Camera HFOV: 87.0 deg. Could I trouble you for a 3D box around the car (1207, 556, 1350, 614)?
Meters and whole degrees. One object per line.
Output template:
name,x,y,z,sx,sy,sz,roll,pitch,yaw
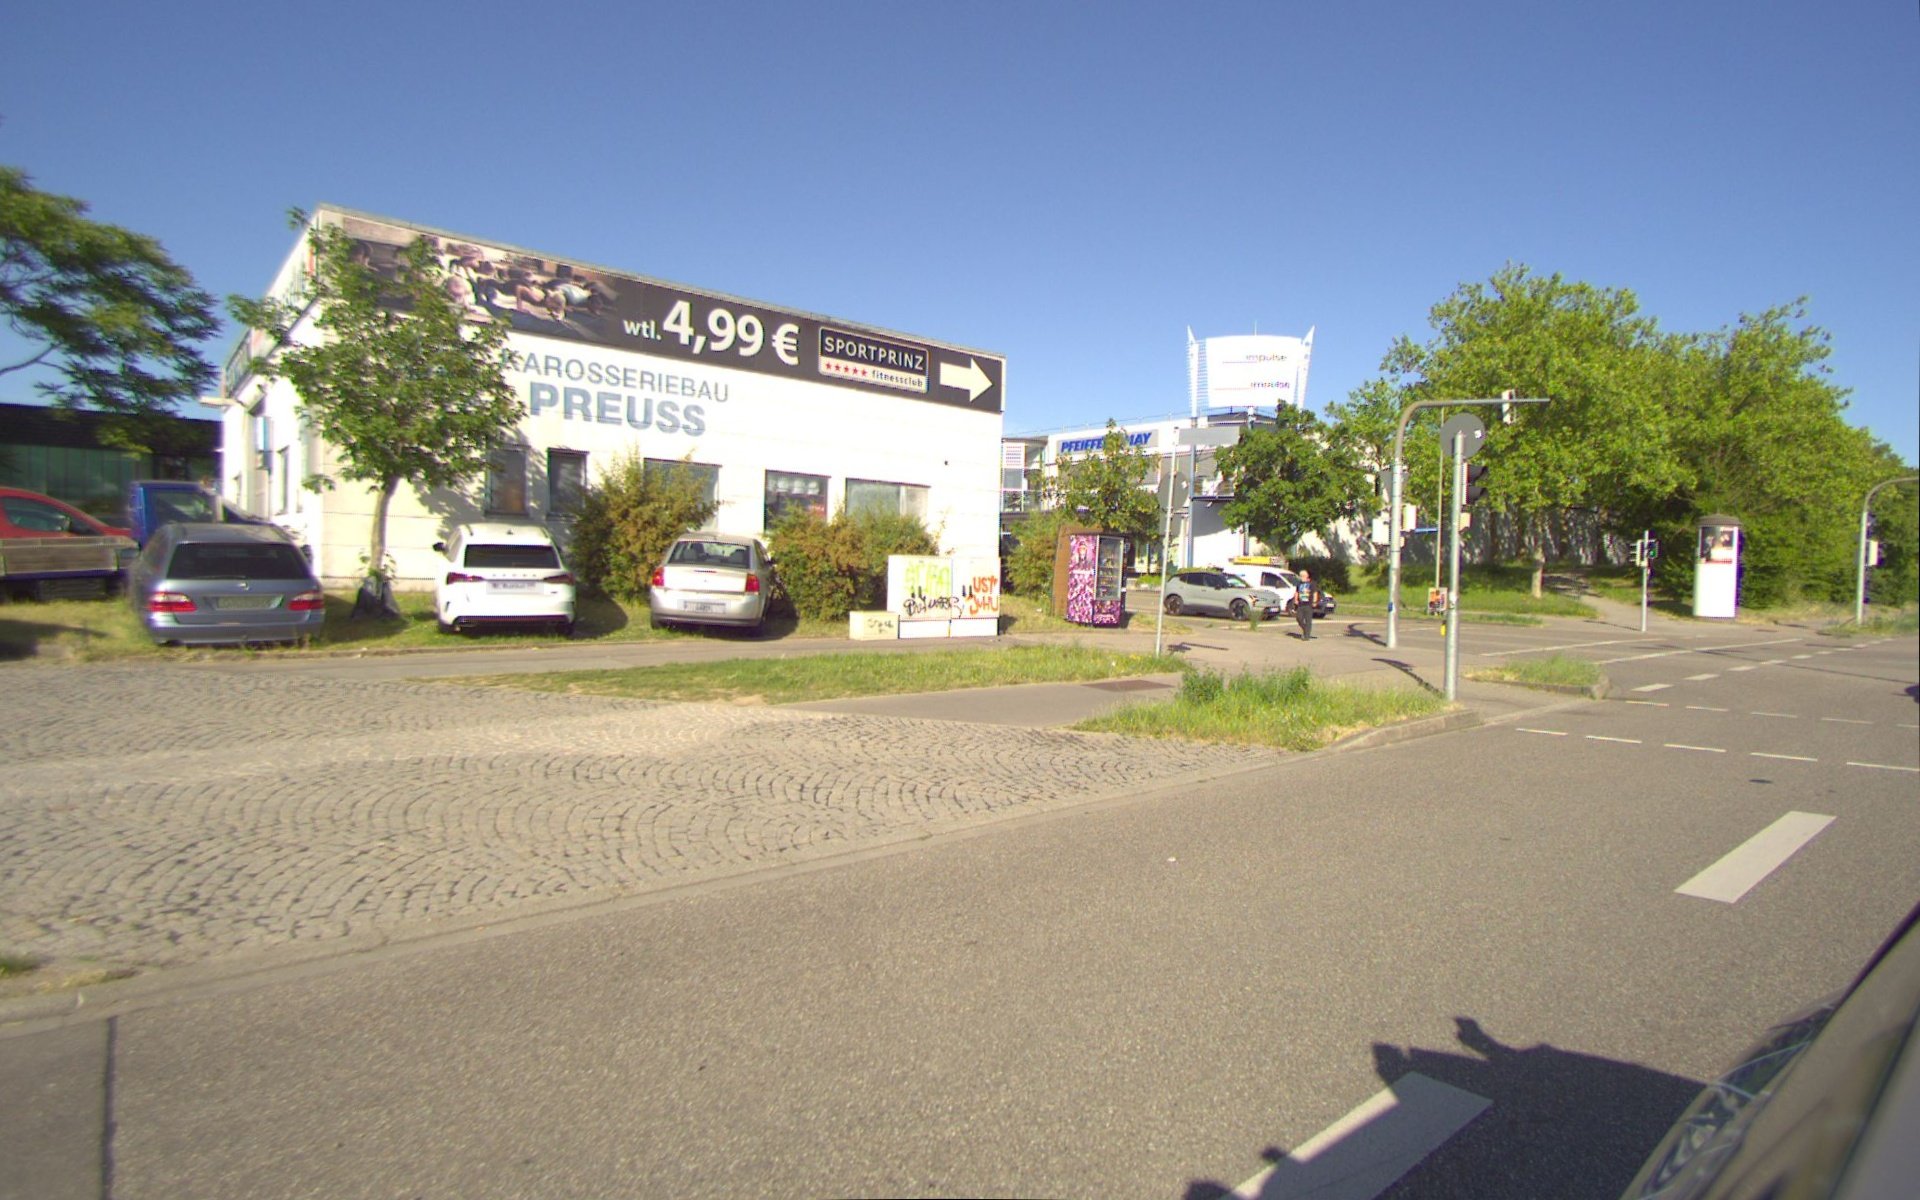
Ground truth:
car,11.476,-0.608,36.715,1.839,1.958,4.692,-1,2,-39

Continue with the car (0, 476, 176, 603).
car,-14.910,-0.982,15.744,4.146,1.882,1.897,-2,6,-43

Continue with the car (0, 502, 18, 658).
car,-11.894,-0.266,9.372,4.748,1.549,1.901,3,4,3

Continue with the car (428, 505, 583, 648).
car,-6.666,-0.441,14.609,1.690,1.468,3.944,1,9,-29

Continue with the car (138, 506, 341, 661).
car,-8.972,-0.313,12.511,1.808,1.304,3.620,-1,10,-39

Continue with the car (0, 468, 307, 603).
car,-12.550,-0.975,15.085,4.519,1.803,1.686,-2,6,-43

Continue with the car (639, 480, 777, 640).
car,-3.950,-0.787,16.429,1.652,2.035,4.013,5,8,-9

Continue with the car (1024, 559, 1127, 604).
car,4.499,-0.772,39.809,1.776,1.608,3.928,-2,4,-39

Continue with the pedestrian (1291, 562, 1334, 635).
pedestrian,8.545,-0.049,24.550,0.607,1.737,0.759,-1,2,-40

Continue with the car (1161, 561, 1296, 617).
car,9.057,-0.437,34.397,1.868,1.665,4.101,-2,4,-39
